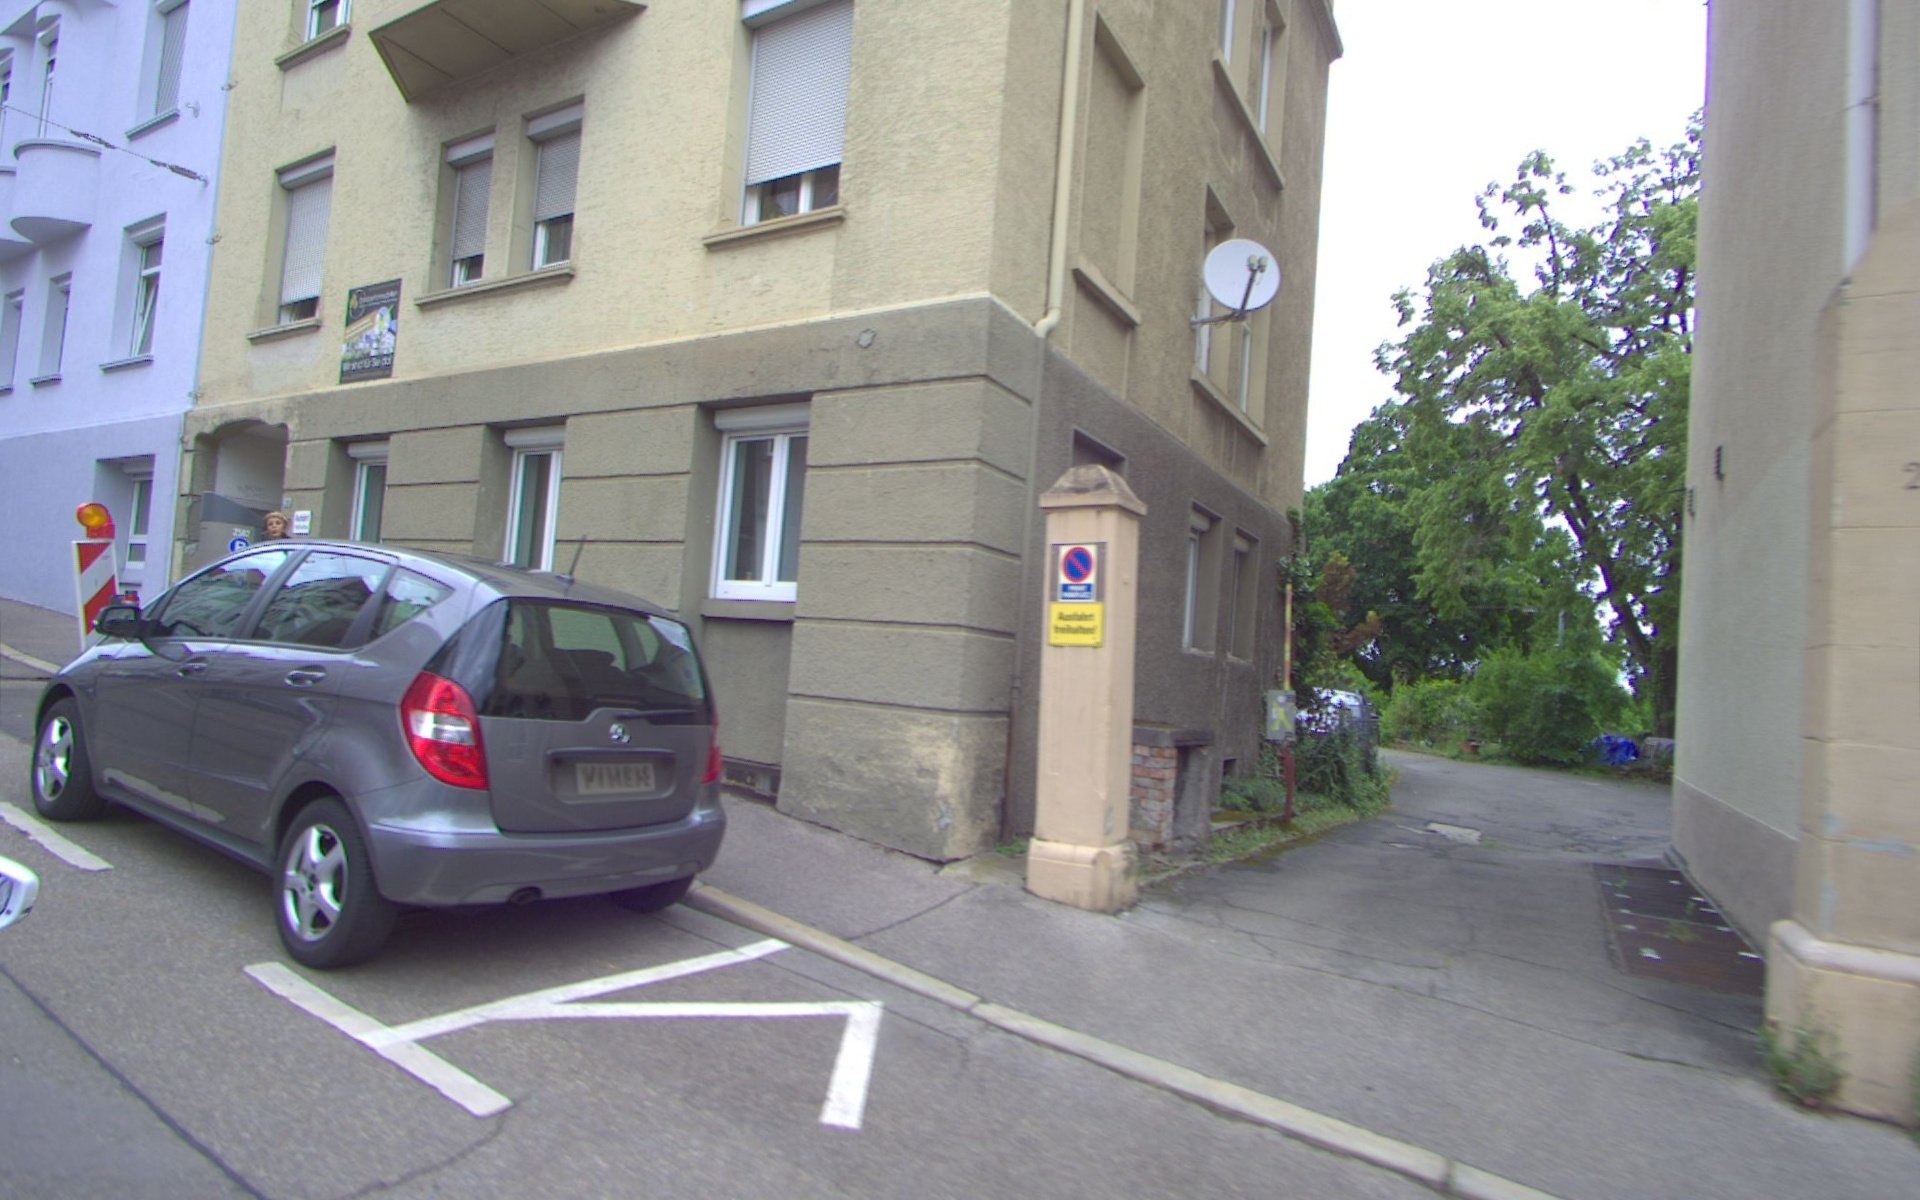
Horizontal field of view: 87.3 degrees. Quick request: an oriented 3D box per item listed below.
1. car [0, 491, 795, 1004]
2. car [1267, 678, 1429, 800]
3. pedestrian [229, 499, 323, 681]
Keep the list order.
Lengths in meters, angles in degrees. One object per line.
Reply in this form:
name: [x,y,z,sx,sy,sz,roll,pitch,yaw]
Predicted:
car: [-3.048,0.493,5.169,3.961,1.535,1.833,7,-4,32]
car: [7.020,2.340,17.921,1.803,1.631,4.208,7,0,32]
pedestrian: [-6.656,-0.095,9.797,0.507,1.704,0.541,4,2,23]
